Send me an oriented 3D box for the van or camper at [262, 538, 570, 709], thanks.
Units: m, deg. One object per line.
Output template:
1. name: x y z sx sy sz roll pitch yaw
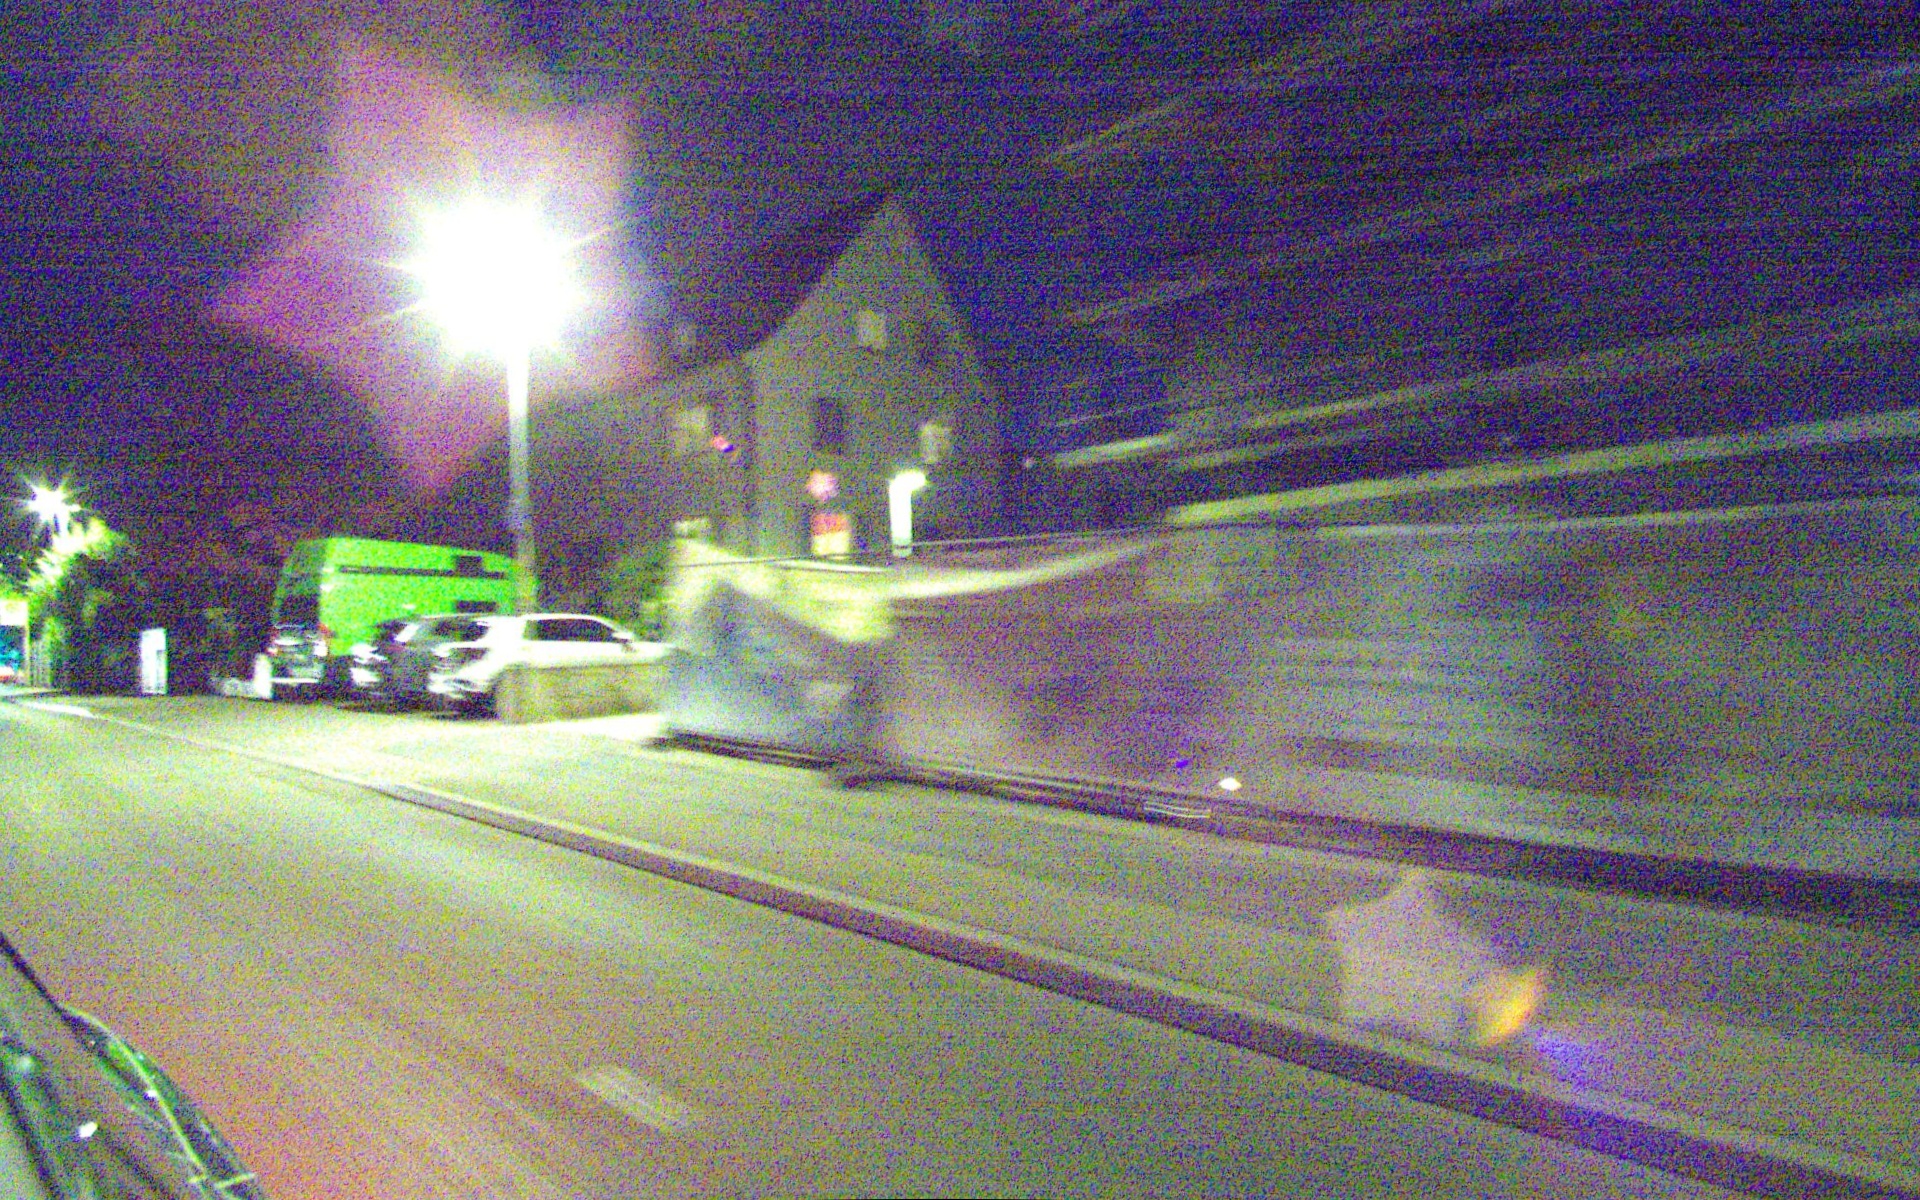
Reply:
1. van or camper: -11.189 0.443 21.307 2.125 3.134 5.359 -2 -1 31

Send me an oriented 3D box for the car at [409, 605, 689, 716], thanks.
1. car: -6.602 0.916 16.530 1.926 1.567 3.772 -4 -3 40

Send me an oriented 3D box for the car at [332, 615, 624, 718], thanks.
1. car: -8.635 1.104 18.419 2.065 1.625 4.370 -2 -2 42
